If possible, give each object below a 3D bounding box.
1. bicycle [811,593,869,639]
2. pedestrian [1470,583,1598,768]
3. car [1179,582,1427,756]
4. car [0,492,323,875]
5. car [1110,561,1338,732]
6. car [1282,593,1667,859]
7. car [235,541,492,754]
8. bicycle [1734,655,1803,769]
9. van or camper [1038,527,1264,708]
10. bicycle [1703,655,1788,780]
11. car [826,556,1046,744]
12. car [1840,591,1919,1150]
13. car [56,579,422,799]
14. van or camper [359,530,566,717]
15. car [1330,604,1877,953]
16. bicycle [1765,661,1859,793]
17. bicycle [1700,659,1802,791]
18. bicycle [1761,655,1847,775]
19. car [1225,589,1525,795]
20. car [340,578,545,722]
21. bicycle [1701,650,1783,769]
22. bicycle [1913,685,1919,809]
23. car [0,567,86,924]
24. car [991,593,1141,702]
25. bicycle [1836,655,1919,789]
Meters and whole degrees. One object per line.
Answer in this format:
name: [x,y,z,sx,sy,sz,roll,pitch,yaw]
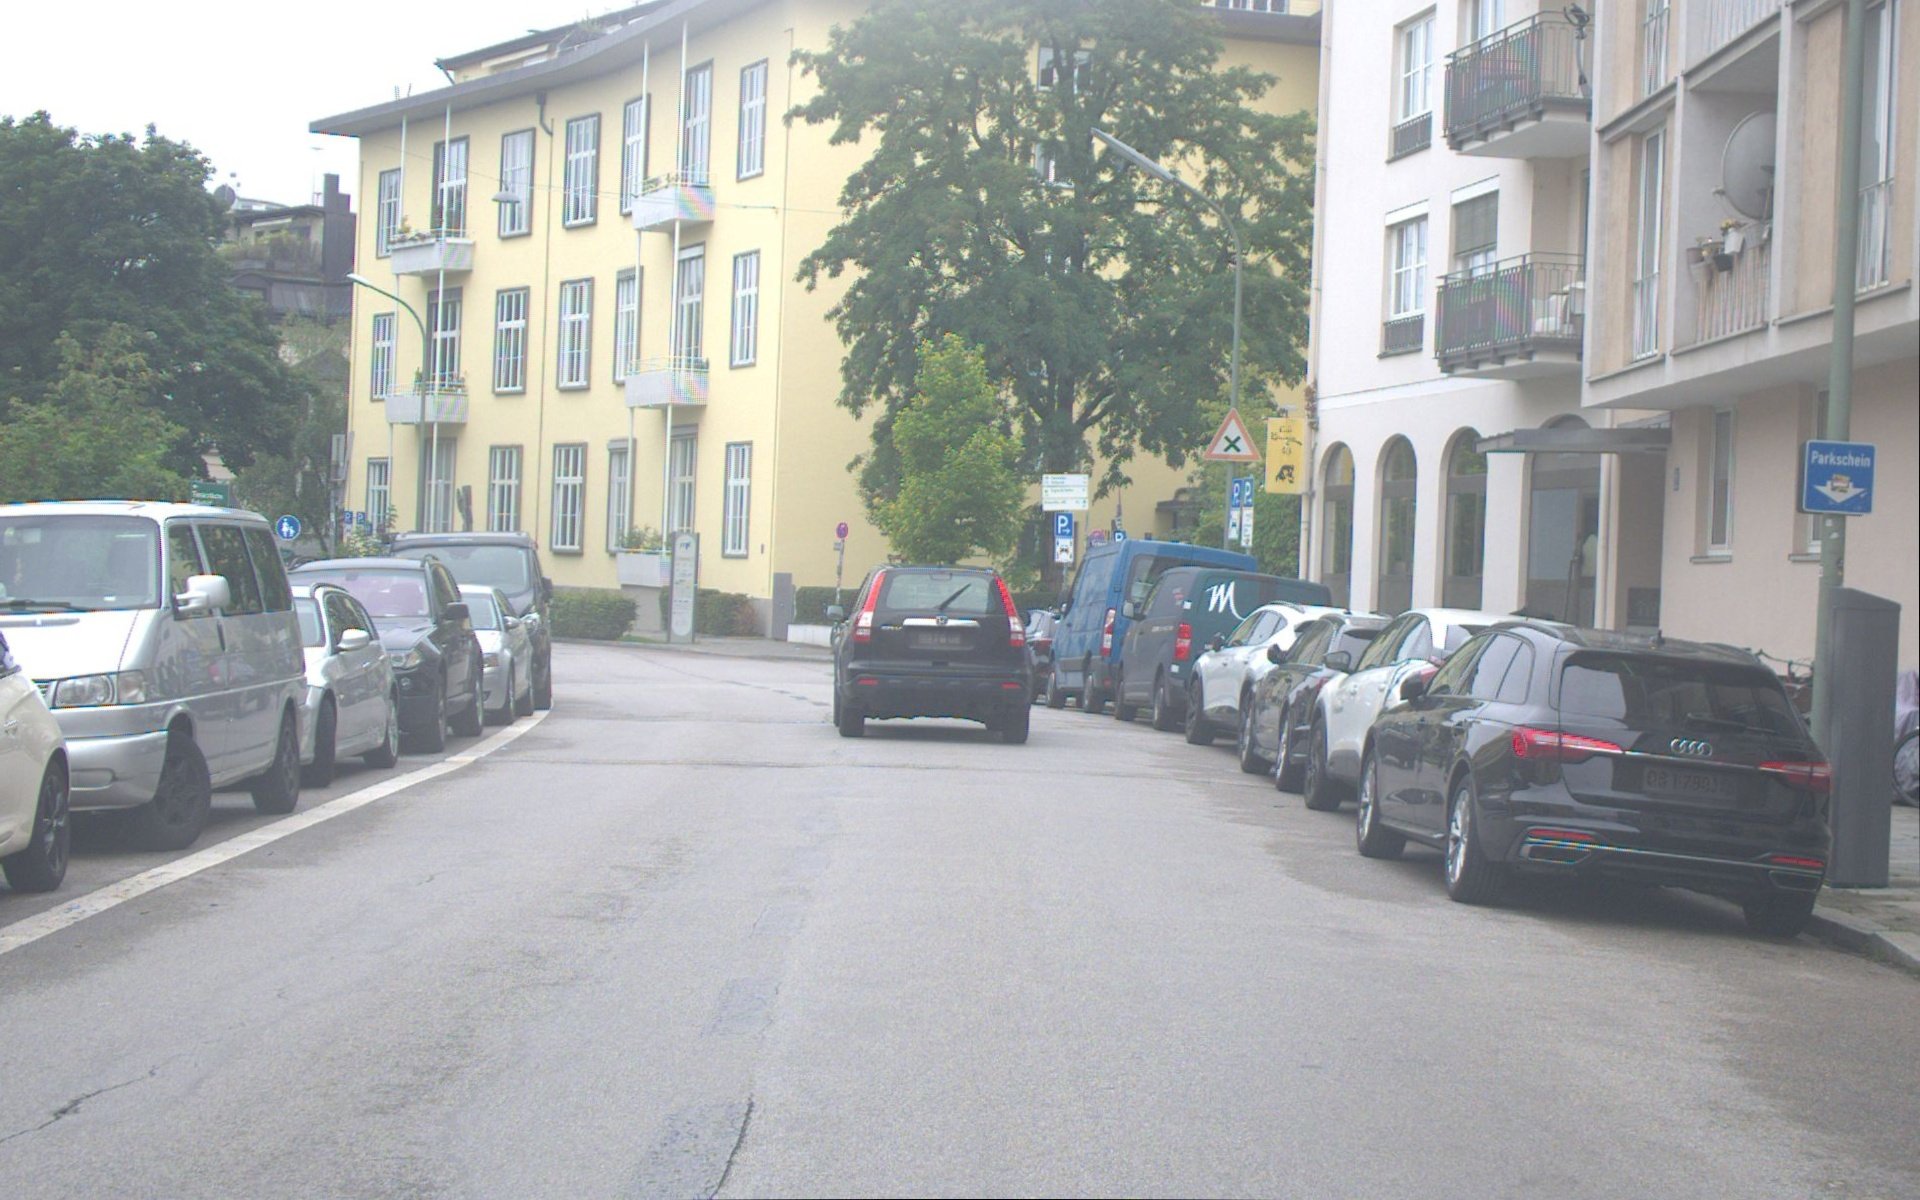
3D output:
bicycle: [-2.973,0.398,85.174,0.608,1.069,2.218,1,1,-24]
pedestrian: [5.391,0.696,32.372,0.898,1.682,1.320,1,0,-2]
car: [3.328,0.636,34.119,1.739,1.532,4.274,1,1,-4]
car: [-5.031,0.400,19.296,1.993,1.869,4.758,-1,1,0]
car: [2.971,0.475,39.738,1.964,1.810,4.936,1,1,-3]
car: [3.413,0.782,23.582,1.739,1.494,4.220,4,1,-2]
car: [-5.148,0.360,30.160,1.619,1.724,4.425,0,1,-2]
bicycle: [7.546,1.038,32.095,0.373,1.020,1.002,1,0,-1]
van or camper: [2.447,0.185,45.572,2.060,2.223,5.439,1,1,-7]
bicycle: [6.843,1.014,29.985,0.390,1.020,1.401,1,0,-1]
car: [-0.185,0.431,33.773,1.995,1.688,4.380,1,1,1]
car: [3.538,0.838,8.338,1.671,1.529,3.881,5,1,0]
car: [-5.132,0.577,25.038,1.701,1.418,4.425,-1,1,0]
van or camper: [-5.771,0.236,40.394,1.960,2.058,4.754,0,1,-3]
car: [3.266,0.843,18.389,1.796,1.415,4.483,5,1,-2]
bicycle: [7.039,1.040,28.434,0.390,1.020,1.401,1,0,-1]
bicycle: [6.530,1.020,28.441,0.483,1.020,1.401,1,0,-1]
bicycle: [7.568,1.021,30.878,0.390,1.020,1.401,1,0,-1]
car: [3.344,0.699,28.500,1.739,1.494,4.496,1,1,-2]
car: [-5.269,0.470,35.394,1.619,1.373,4.072,0,1,-2]
bicycle: [7.152,0.990,31.484,0.390,1.020,1.401,1,0,-1]
bicycle: [7.465,1.118,25.358,0.444,0.932,1.401,1,0,-1]
car: [-4.807,0.624,14.208,1.578,1.487,3.730,-1,1,-3]
car: [1.536,0.681,51.278,1.703,1.513,3.959,0,1,-6]
bicycle: [7.510,0.979,27.924,0.390,1.020,1.401,1,0,-1]
